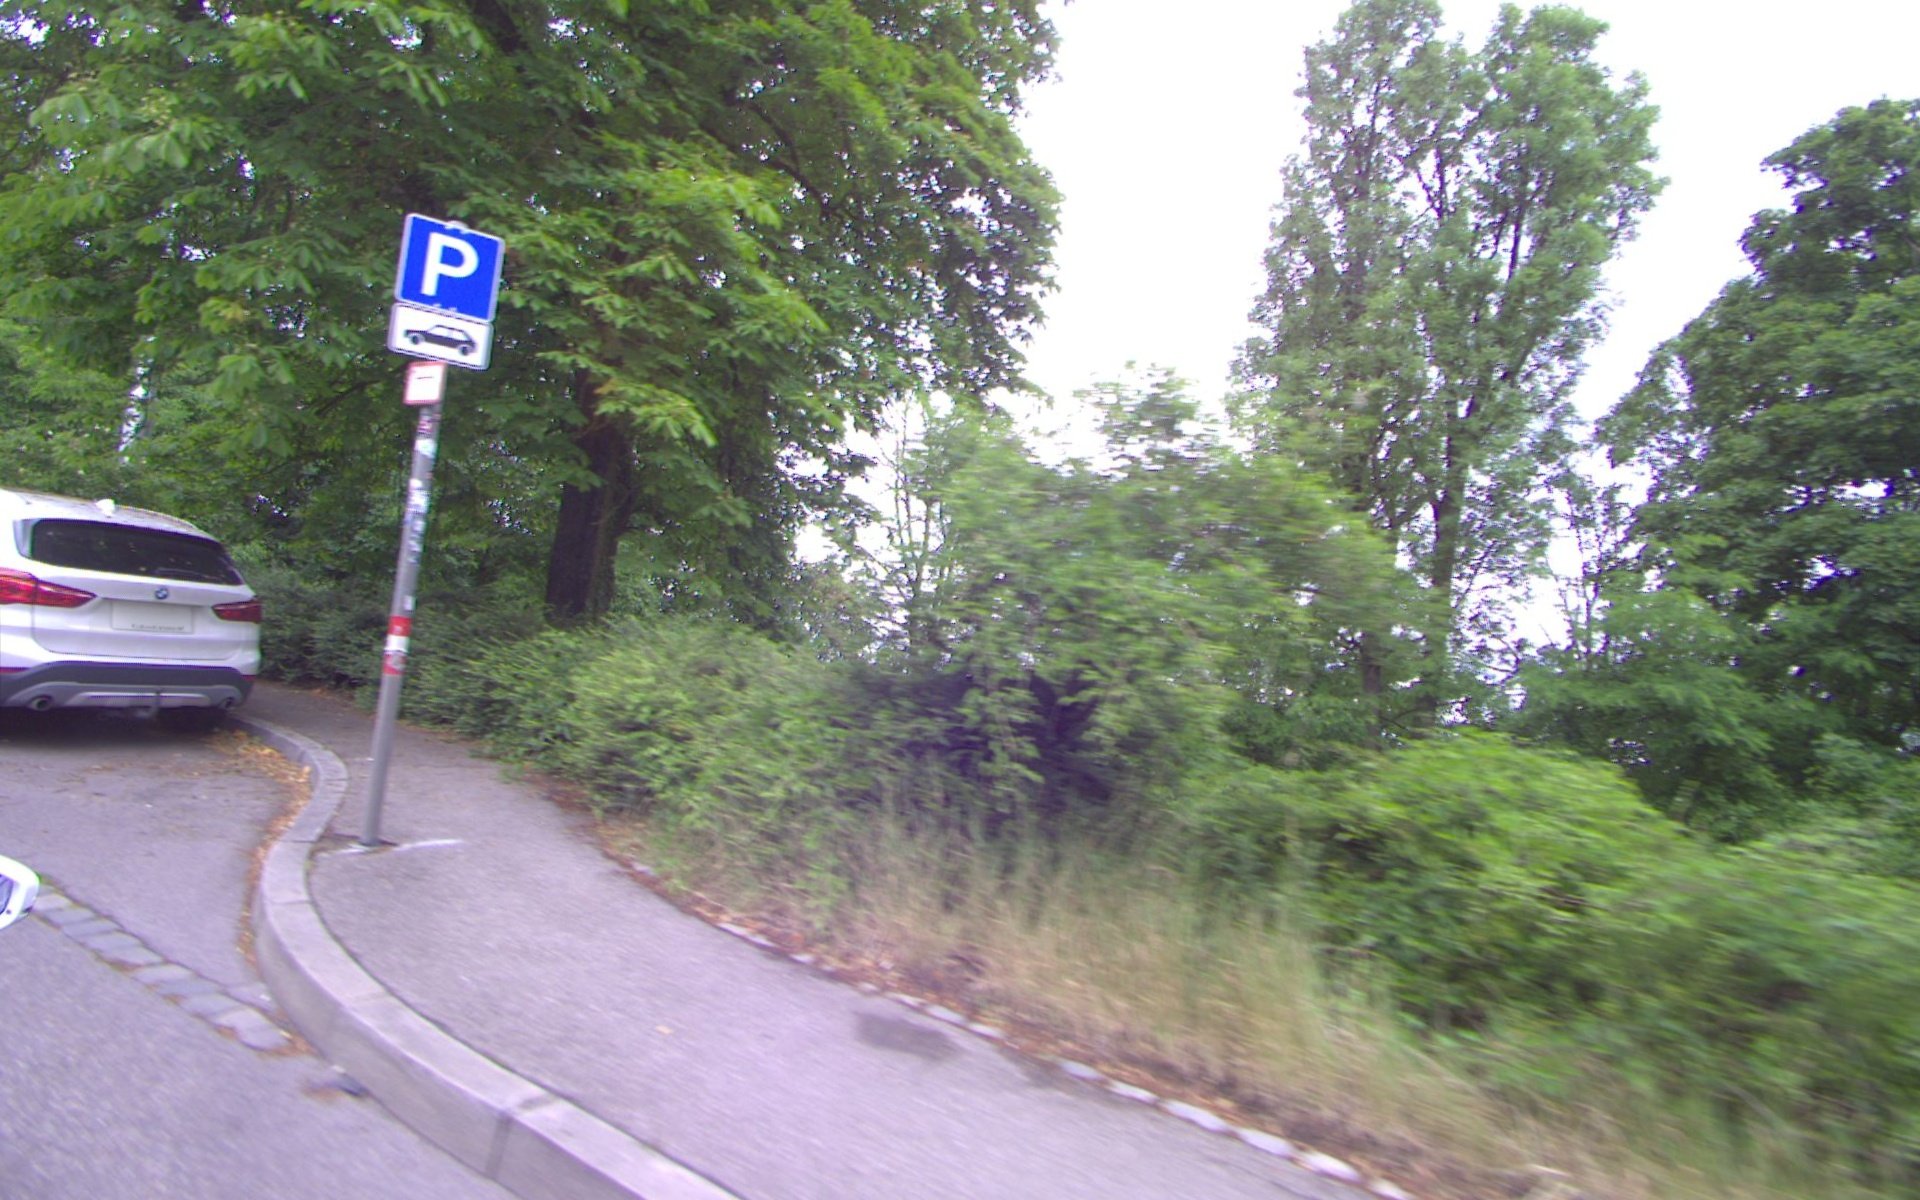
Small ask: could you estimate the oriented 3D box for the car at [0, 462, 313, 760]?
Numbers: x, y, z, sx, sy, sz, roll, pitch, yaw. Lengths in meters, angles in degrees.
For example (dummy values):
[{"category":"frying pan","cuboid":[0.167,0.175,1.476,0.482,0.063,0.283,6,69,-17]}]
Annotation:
[{"category":"car","cuboid":[-6.985,-0.101,7.269,4.303,1.671,1.764,7,-1,26]}]
